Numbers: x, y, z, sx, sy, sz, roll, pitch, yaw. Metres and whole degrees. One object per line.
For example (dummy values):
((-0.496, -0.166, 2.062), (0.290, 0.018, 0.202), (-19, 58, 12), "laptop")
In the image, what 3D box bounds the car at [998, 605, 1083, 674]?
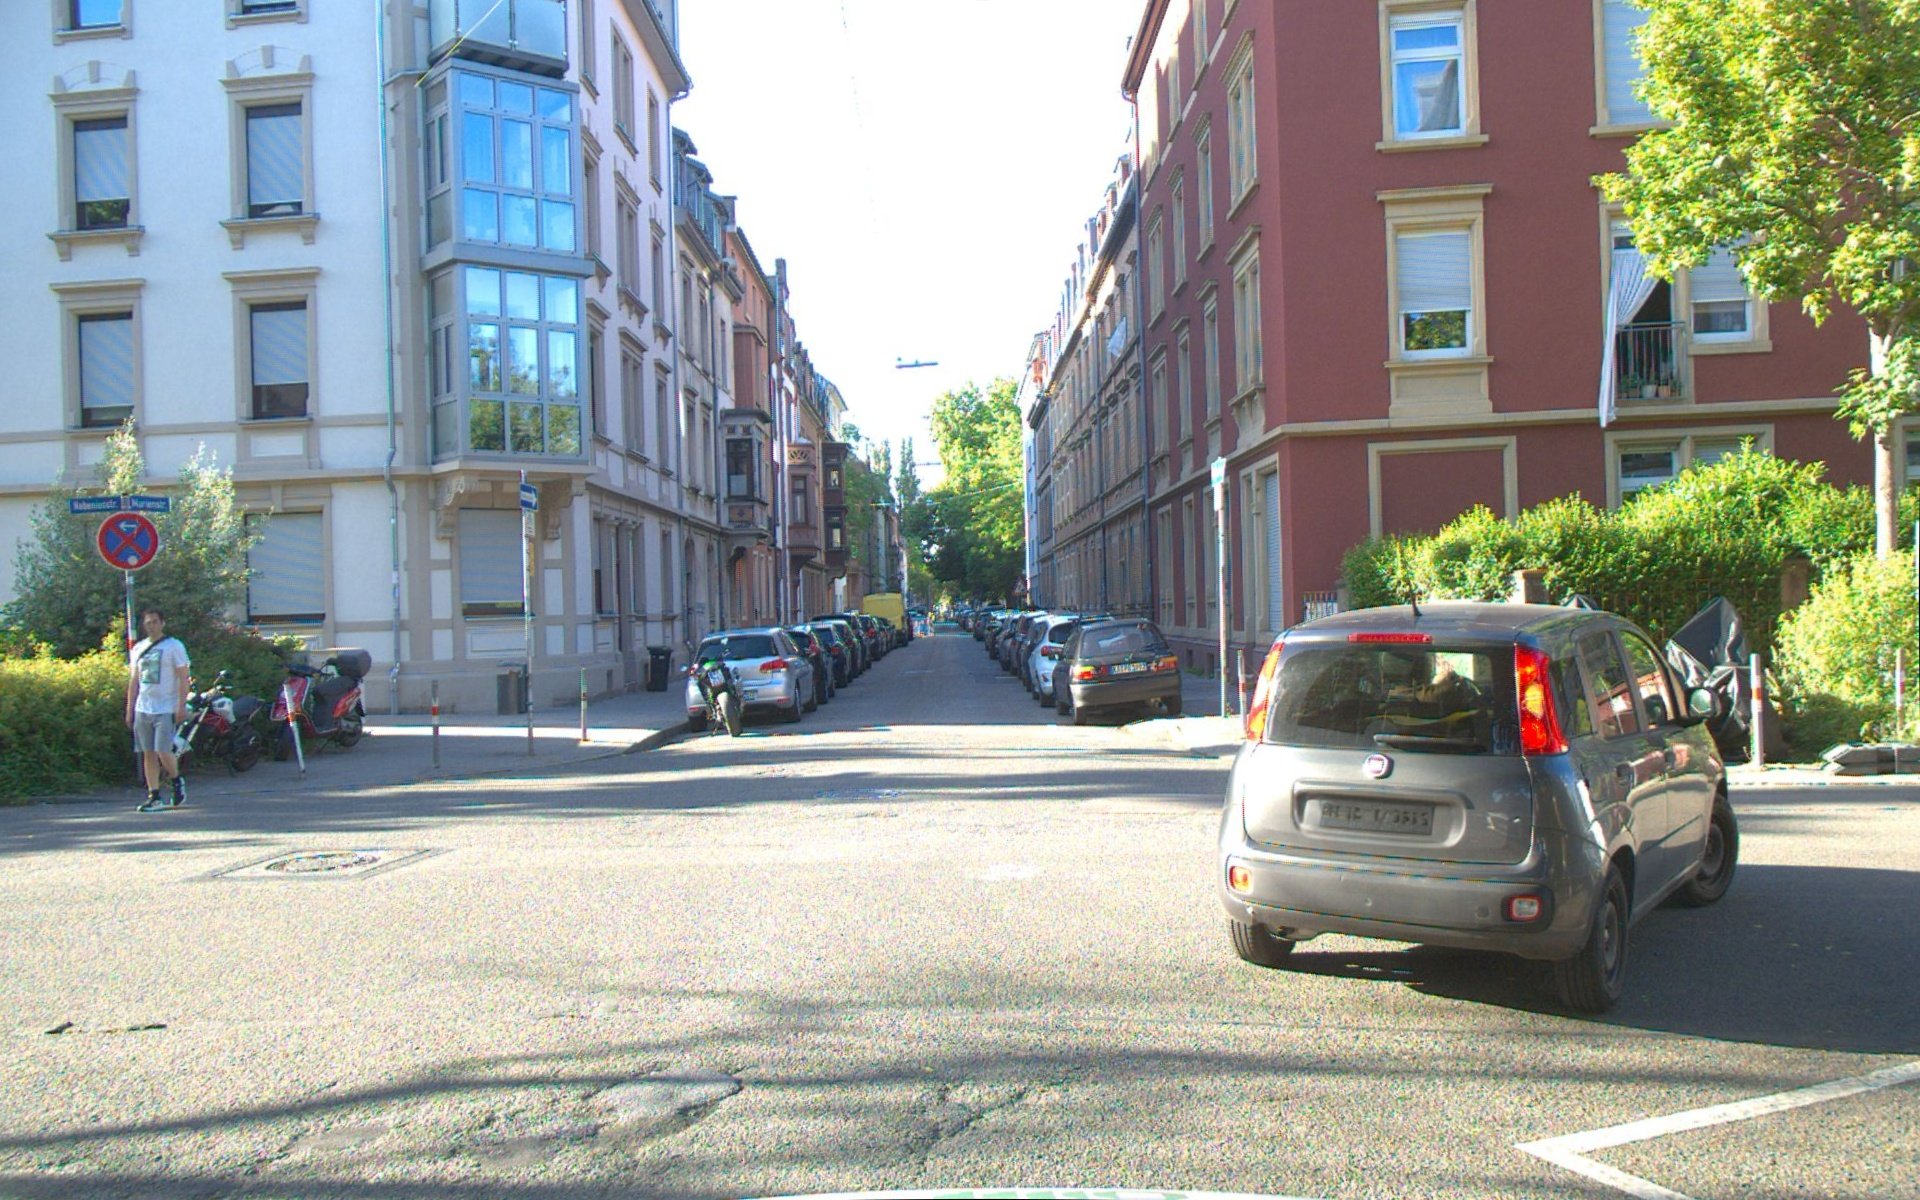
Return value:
((1.883, 0.910, 39.882), (1.626, 1.505, 4.022), (-2, 0, -3), "car")

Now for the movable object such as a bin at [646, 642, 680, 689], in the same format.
((-6.195, 1.360, 34.494), (0.609, 0.972, 0.511), (-1, -1, -1), "movable object such as a bin")

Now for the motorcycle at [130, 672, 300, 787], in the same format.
((-8.027, 1.373, 17.913), (0.625, 1.109, 1.871), (-2, -1, 15), "motorcycle")

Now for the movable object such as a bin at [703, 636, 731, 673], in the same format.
((-6.456, 1.439, 43.952), (0.600, 0.936, 0.733), (-2, -1, -1), "movable object such as a bin")

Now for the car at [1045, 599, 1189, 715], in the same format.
((2.228, 0.779, 24.315), (1.634, 1.509, 3.705), (-2, 0, -2), "car")

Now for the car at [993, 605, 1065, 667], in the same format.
((1.825, 0.924, 44.714), (1.726, 1.510, 4.401), (-2, 0, 0), "car")

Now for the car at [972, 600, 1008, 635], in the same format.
((1.676, 0.963, 93.265), (1.718, 1.817, 4.722), (-5, 0, -1), "car")

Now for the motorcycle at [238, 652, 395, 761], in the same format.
((-7.806, 1.269, 20.170), (0.598, 1.217, 2.045), (-2, -1, 19), "motorcycle")

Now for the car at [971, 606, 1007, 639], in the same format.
((1.539, 1.156, 87.825), (1.718, 1.477, 4.288), (-6, 0, 1), "car")

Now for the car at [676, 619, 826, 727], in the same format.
((-3.269, 1.115, 26.561), (1.744, 1.509, 3.933), (-2, 0, 2), "car")

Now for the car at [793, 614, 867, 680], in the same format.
((-3.311, 1.172, 42.756), (1.610, 1.481, 3.838), (-4, 0, -1), "car")

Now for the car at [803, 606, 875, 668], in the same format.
((-3.457, 1.036, 47.939), (1.725, 1.645, 4.189), (-2, 0, 0), "car")

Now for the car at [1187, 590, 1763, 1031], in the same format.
((2.584, 0.754, 7.735), (1.605, 1.509, 3.522), (-2, 0, 34), "car")

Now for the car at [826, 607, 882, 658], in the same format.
((-3.644, 1.096, 57.540), (1.745, 1.634, 4.068), (-2, 0, -2), "car")

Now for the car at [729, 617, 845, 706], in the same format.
((-3.219, 1.114, 31.336), (1.744, 1.509, 3.742), (-2, 0, 0), "car")

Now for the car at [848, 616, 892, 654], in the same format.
((-3.696, 1.427, 68.363), (1.586, 1.349, 3.611), (-5, 0, -1), "car")

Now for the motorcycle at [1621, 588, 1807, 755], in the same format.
((7.078, 0.628, 15.682), (0.850, 1.429, 2.545), (-2, -1, 8), "motorcycle")

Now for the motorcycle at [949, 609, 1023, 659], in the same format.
((0.828, 1.055, 52.064), (2.192, 1.563, 0.882), (0, 0, -27), "motorcycle")

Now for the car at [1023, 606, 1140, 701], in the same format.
((2.051, 0.878, 28.832), (1.670, 1.488, 3.969), (-2, 0, -1), "car")

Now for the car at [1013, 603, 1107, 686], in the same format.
((2.010, 0.872, 34.233), (1.642, 1.529, 4.069), (-2, 0, 0), "car")

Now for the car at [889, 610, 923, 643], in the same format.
((-3.113, 1.505, 94.452), (1.782, 1.797, 4.332), (-2, 0, -3), "car")

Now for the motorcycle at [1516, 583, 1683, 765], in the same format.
((6.067, 0.640, 15.880), (0.853, 1.551, 2.625), (-2, 1, 8), "motorcycle")

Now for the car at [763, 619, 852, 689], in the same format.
((-3.405, 1.180, 37.580), (1.745, 1.428, 3.741), (-2, 0, -2), "car")

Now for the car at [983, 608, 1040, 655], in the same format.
((1.673, 1.023, 55.049), (1.741, 1.421, 4.317), (-2, 0, 0), "car")

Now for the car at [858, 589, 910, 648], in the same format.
((-3.614, 0.865, 79.767), (2.131, 2.551, 5.877), (-4, 0, -1), "car")

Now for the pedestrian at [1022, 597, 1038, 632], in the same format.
((3.417, 0.700, 80.470), (0.640, 1.659, 0.881), (-4, -1, 3), "pedestrian")

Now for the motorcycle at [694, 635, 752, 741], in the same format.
((-3.322, 1.204, 23.272), (0.664, 1.357, 1.997), (-5, 0, -7), "motorcycle")

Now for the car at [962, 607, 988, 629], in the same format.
((1.139, 1.367, 127.357), (1.689, 1.549, 3.997), (-3, 0, -3), "car")

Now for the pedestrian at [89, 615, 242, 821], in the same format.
((-7.181, 1.040, 14.996), (0.786, 1.776, 1.007), (-2, -1, 6), "pedestrian")
